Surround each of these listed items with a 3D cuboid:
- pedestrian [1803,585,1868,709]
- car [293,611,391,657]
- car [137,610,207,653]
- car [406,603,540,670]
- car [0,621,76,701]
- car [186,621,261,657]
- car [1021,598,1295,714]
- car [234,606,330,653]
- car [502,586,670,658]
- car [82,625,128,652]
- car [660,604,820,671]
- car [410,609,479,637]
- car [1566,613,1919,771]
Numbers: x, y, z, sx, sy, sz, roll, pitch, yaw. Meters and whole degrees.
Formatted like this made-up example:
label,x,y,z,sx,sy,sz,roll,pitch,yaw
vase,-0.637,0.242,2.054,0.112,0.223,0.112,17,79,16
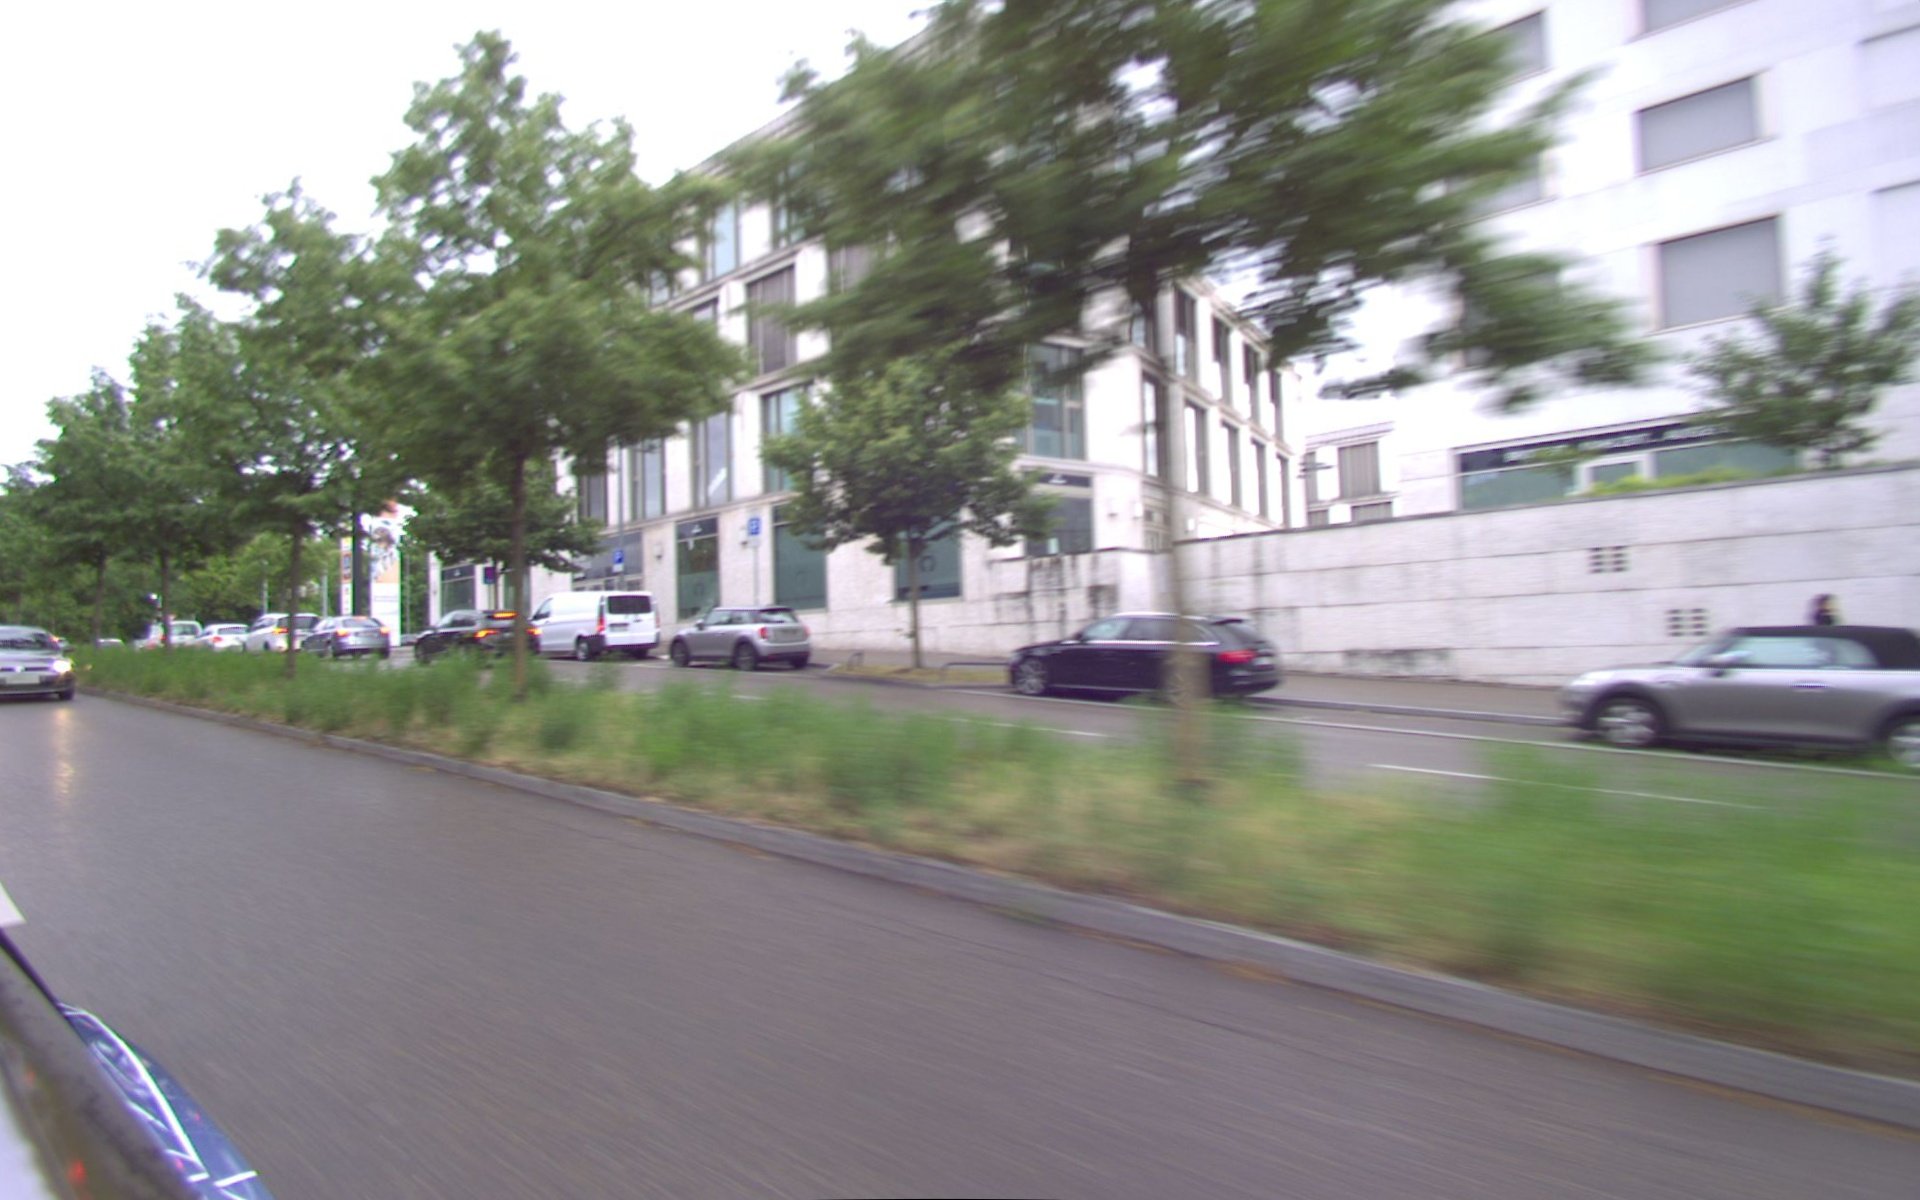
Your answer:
label,x,y,z,sx,sy,sz,roll,pitch,yaw
pedestrian,13.074,0.682,15.134,0.691,1.788,0.711,-1,-1,40
car,-20.349,1.150,33.260,3.994,1.421,1.624,-3,-3,41
car,-38.336,1.540,49.182,4.771,1.816,1.824,-5,-2,41
car,-12.679,0.891,26.266,4.015,1.593,1.677,-1,1,41
car,-18.656,1.141,19.739,1.878,1.450,4.002,1,-2,-45
car,-31.242,1.639,42.900,4.059,1.479,1.725,-2,-2,42
car,3.050,0.776,16.080,4.016,1.593,1.677,0,1,42
car,-24.922,1.077,37.154,4.672,1.613,1.810,-1,-1,41
car,-10.528,0.604,28.291,5.256,1.829,2.101,-1,-1,40
car,-51.507,2.304,60.958,3.750,1.471,1.696,-5,-4,43
car,-5.099,0.813,23.263,3.695,1.395,1.678,-1,1,40
car,-28.010,1.236,55.118,1.553,1.387,3.280,-3,-2,15
car,8.957,0.896,10.963,3.859,1.455,1.677,-1,1,42
